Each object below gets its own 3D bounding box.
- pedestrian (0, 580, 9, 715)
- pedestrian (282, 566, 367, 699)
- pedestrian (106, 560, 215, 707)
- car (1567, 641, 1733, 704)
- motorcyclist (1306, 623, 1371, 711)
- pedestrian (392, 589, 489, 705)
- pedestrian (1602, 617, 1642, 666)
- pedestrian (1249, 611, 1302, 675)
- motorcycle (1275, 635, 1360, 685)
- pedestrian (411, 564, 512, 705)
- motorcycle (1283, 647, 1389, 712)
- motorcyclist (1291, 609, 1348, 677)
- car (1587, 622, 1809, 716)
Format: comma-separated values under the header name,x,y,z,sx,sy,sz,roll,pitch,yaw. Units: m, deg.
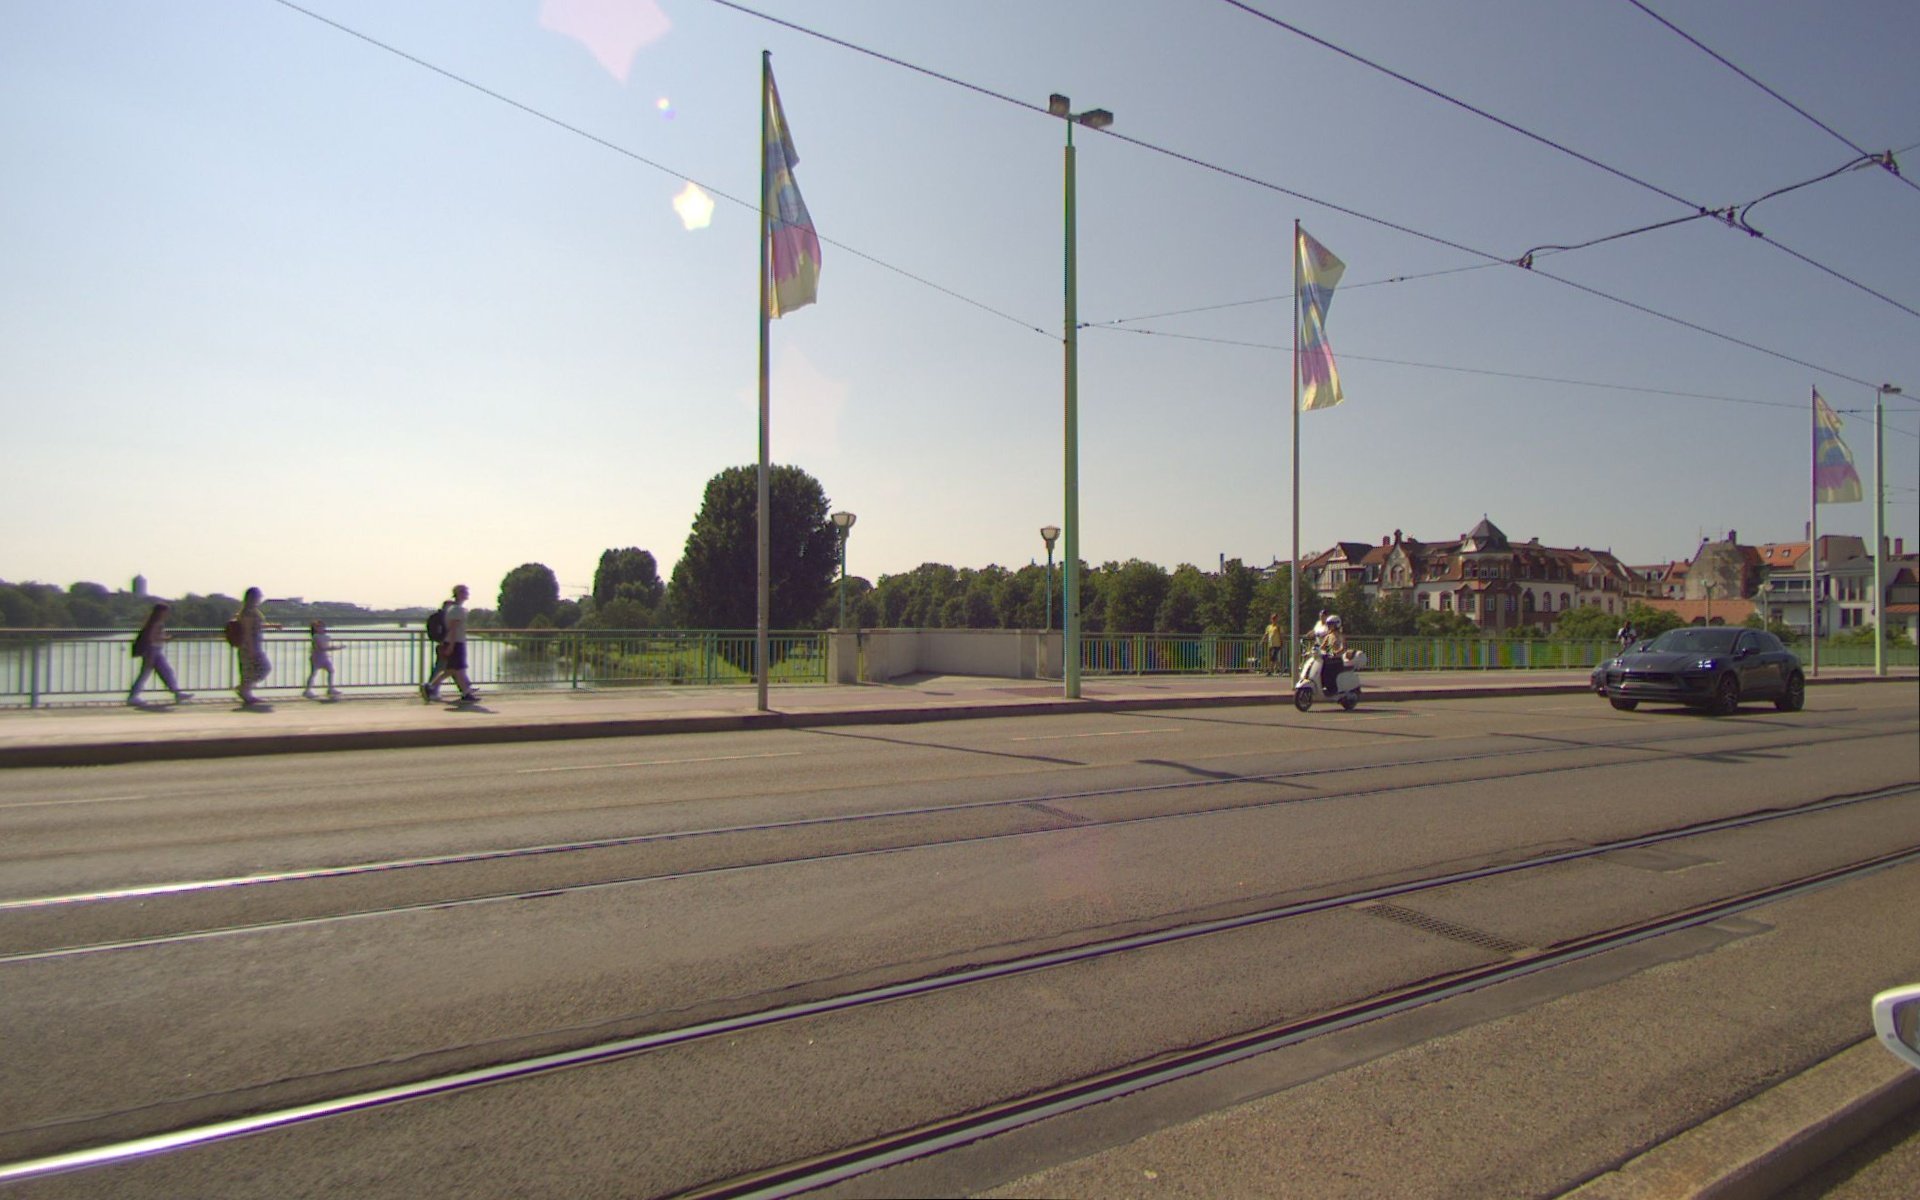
name,x,y,z,sx,sy,sz,roll,pitch,yaw
pedestrian,-12.908,0.604,12.675,1.163,1.745,0.750,1,0,-33
pedestrian,-10.196,0.502,16.137,1.117,2.040,1.091,0,0,-33
pedestrian,-11.625,0.469,14.658,1.117,2.040,1.091,0,0,-33
car,16.887,1.709,24.525,4.333,1.380,1.749,1,-1,-31
motorcyclist,7.099,1.228,18.847,0.822,1.595,0.823,1,-1,-31
pedestrian,-8.239,0.718,15.927,1.281,1.752,1.091,0,0,-33
pedestrian,23.941,1.490,36.315,1.081,1.745,0.826,1,-1,-30
pedestrian,8.466,1.132,26.941,1.016,1.680,0.895,1,0,-28
motorcycle,8.498,1.402,23.838,2.154,1.125,0.697,1,-1,-31
pedestrian,-7.634,0.505,15.387,1.281,2.040,1.091,0,0,-33
motorcycle,7.064,1.466,18.840,2.154,1.125,0.697,1,-1,-31
motorcyclist,8.547,1.008,23.872,1.057,1.570,0.796,1,-1,-31
car,14.310,1.259,19.432,4.288,1.621,1.984,1,-1,-31
